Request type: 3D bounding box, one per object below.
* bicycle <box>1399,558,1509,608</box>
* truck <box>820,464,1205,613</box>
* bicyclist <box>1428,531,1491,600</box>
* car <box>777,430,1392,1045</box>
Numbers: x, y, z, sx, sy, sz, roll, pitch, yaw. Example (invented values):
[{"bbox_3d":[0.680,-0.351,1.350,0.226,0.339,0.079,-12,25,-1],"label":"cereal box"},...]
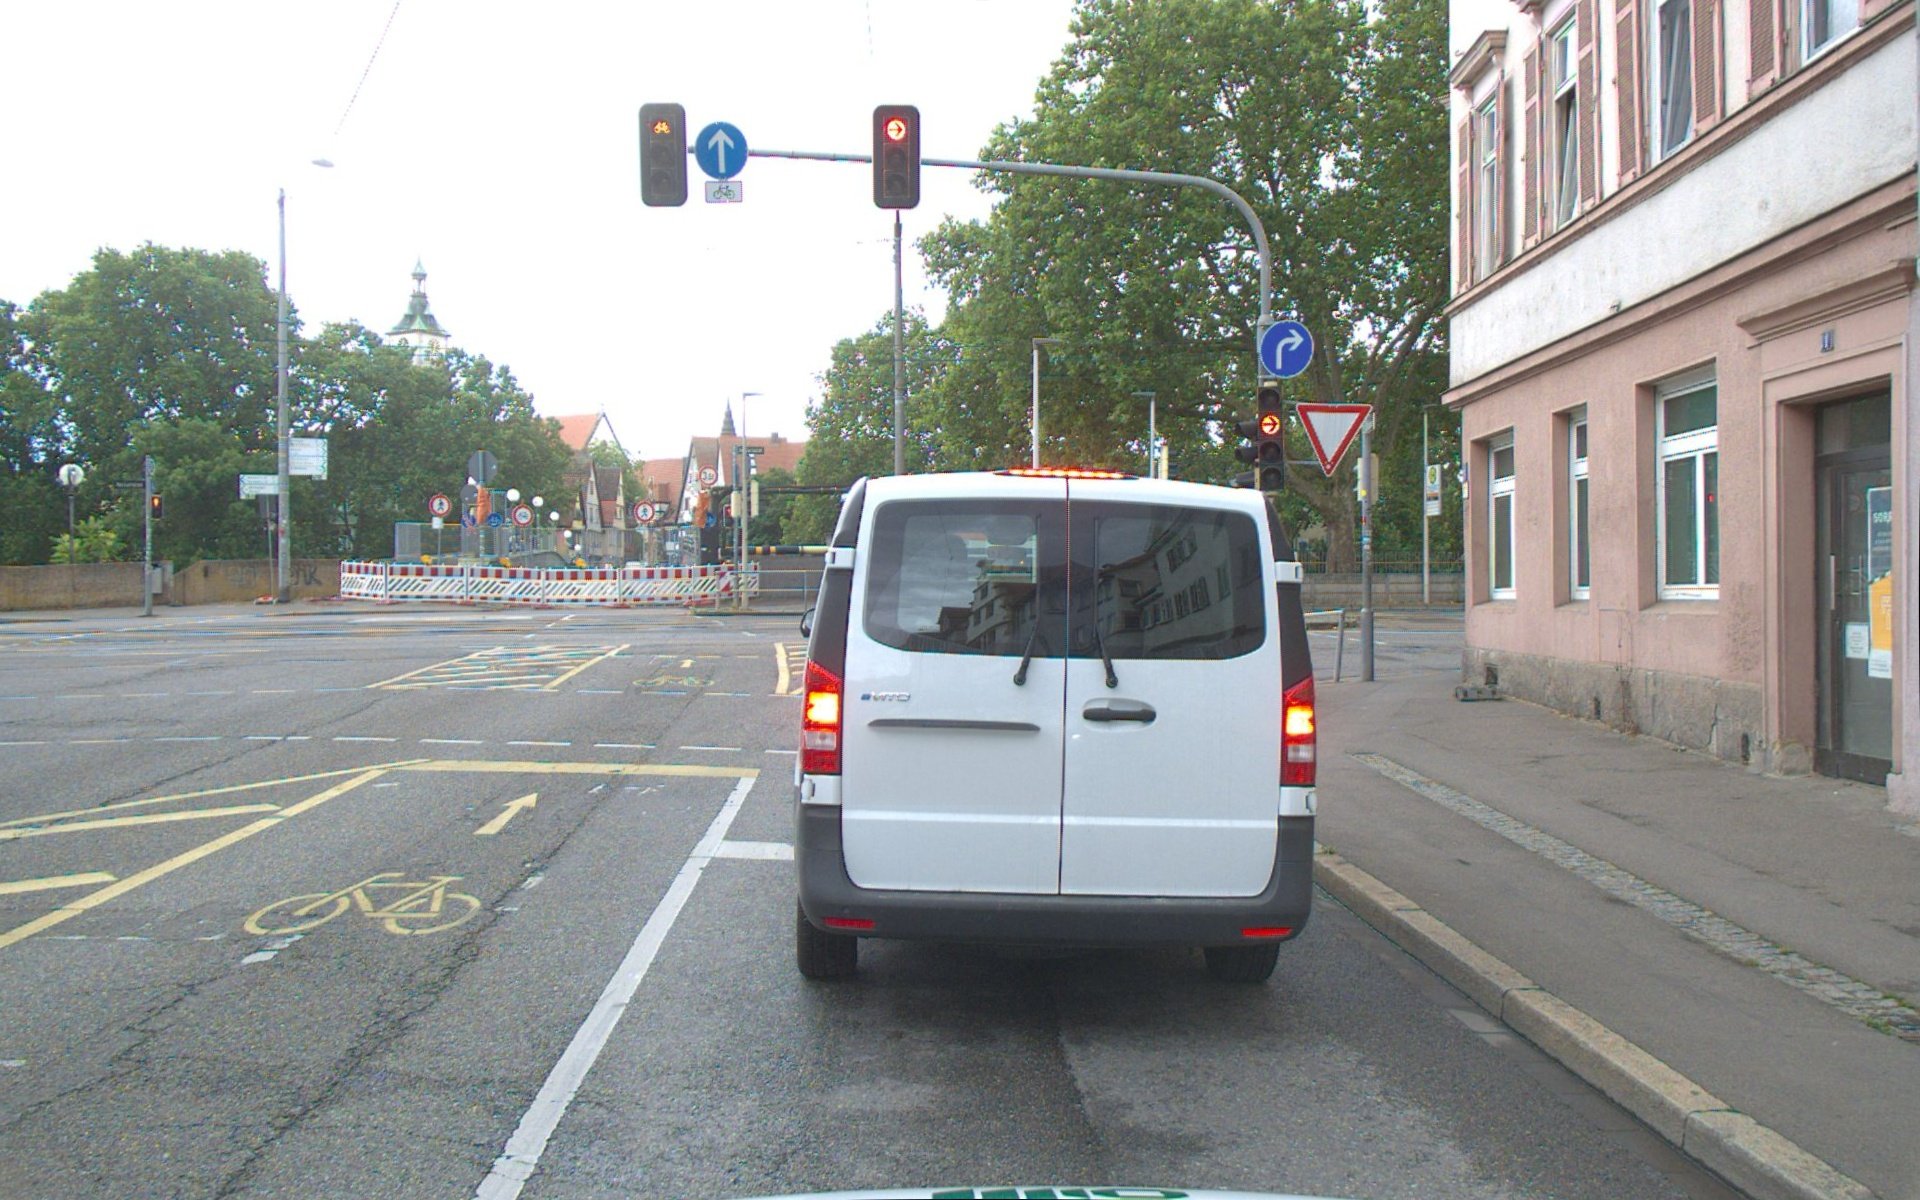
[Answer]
[{"bbox_3d":[15.892,-0.547,53.247,3.092,1.597,1.465,0,0,-15],"label":"bicycle"},{"bbox_3d":[1.363,-1.566,43.865,10.000,3.760,2.265,0,0,-11],"label":"truck"},{"bbox_3d":[16.098,-1.110,53.309,1.538,2.194,1.243,0,0,-15],"label":"bicyclist"},{"bbox_3d":[0.302,0.377,7.423,1.954,1.956,4.247,1,2,-3],"label":"car"}]
